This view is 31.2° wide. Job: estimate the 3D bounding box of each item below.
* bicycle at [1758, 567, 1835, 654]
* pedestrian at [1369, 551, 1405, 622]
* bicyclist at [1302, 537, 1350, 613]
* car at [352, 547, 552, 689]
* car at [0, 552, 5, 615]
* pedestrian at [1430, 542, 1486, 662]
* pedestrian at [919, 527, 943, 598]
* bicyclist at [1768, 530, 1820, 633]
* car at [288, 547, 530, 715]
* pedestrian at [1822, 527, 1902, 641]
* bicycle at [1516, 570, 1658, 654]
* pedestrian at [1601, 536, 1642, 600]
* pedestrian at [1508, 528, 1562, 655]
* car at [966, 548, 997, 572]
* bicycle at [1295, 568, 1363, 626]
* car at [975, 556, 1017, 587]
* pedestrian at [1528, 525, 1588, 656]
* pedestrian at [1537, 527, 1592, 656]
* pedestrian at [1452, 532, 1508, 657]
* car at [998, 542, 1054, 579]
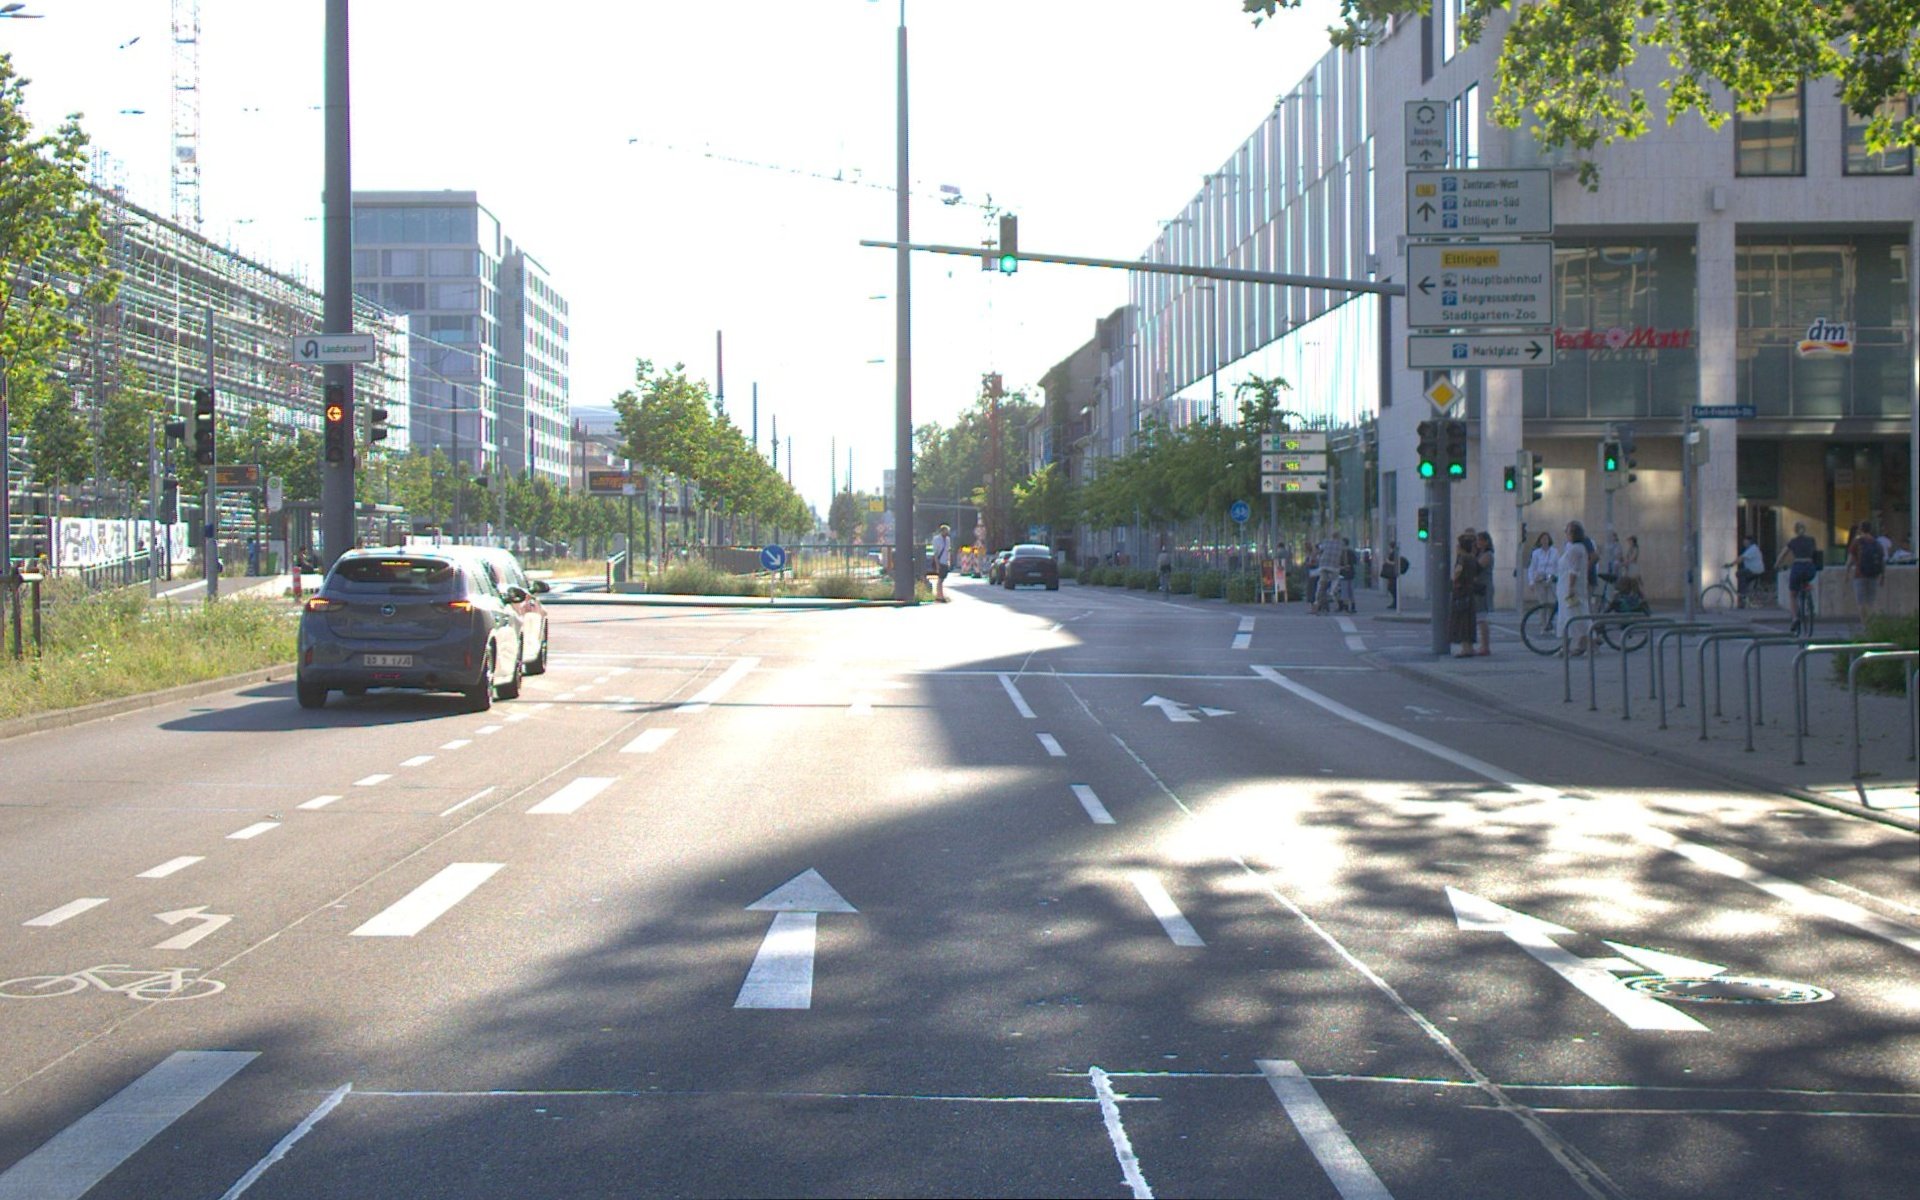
[{"bbox_3d":[12.302,0.140,50.626,0.592,1.227,2.154,0,1,0],"label":"bicycle"},{"bbox_3d":[10.556,-0.344,84.930,0.817,1.728,0.790,0,1,3],"label":"pedestrian"},{"bbox_3d":[7.702,-0.529,72.390,0.801,1.596,0.784,1,1,23],"label":"bicyclist"},{"bbox_3d":[-5.468,0.154,37.420,1.703,1.423,3.926,1,1,-2],"label":"car"},{"bbox_3d":[-27.902,-0.436,95.030,1.993,1.770,4.000,0,1,-1],"label":"car"},{"bbox_3d":[6.798,0.020,46.932,0.634,1.602,0.570,-2,1,0],"label":"pedestrian"},{"bbox_3d":[-0.705,-0.912,83.755,0.492,1.737,0.447,0,1,-11],"label":"pedestrian"},{"bbox_3d":[12.299,-0.277,50.699,0.578,1.517,0.749,0,1,0],"label":"bicyclist"},{"bbox_3d":[-5.025,0.242,31.812,1.776,1.423,4.001,1,1,-3],"label":"car"},{"bbox_3d":[13.595,-0.248,51.844,0.909,1.697,1.113,0,1,0],"label":"pedestrian"},{"bbox_3d":[8.459,0.159,46.416,1.803,1.082,0.479,-1,1,1],"label":"bicycle"},{"bbox_3d":[16.746,-0.816,87.081,0.870,1.580,0.824,-2,1,3],"label":"pedestrian"},{"bbox_3d":[9.469,-0.147,56.664,0.766,2.053,0.797,-2,1,5],"label":"pedestrian"},{"bbox_3d":[1.304,-2.475,213.245,1.703,1.423,3.926,0,1,-3],"label":"car"},{"bbox_3d":[7.802,-0.073,72.620,0.800,1.200,2.261,1,1,23],"label":"bicycle"},{"bbox_3d":[1.673,-1.332,159.312,1.703,1.423,3.926,0,1,-3],"label":"car"},{"bbox_3d":[7.881,-0.127,45.330,0.634,1.697,0.570,-2,1,0],"label":"pedestrian"},{"bbox_3d":[9.786,-0.144,55.663,0.766,2.053,0.797,-2,1,5],"label":"pedestrian"},{"bbox_3d":[7.167,-0.080,47.432,0.634,1.697,0.570,-2,1,0],"label":"pedestrian"},{"bbox_3d":[2.560,-1.546,134.661,1.940,1.423,3.926,0,1,-3],"label":"car"}]
